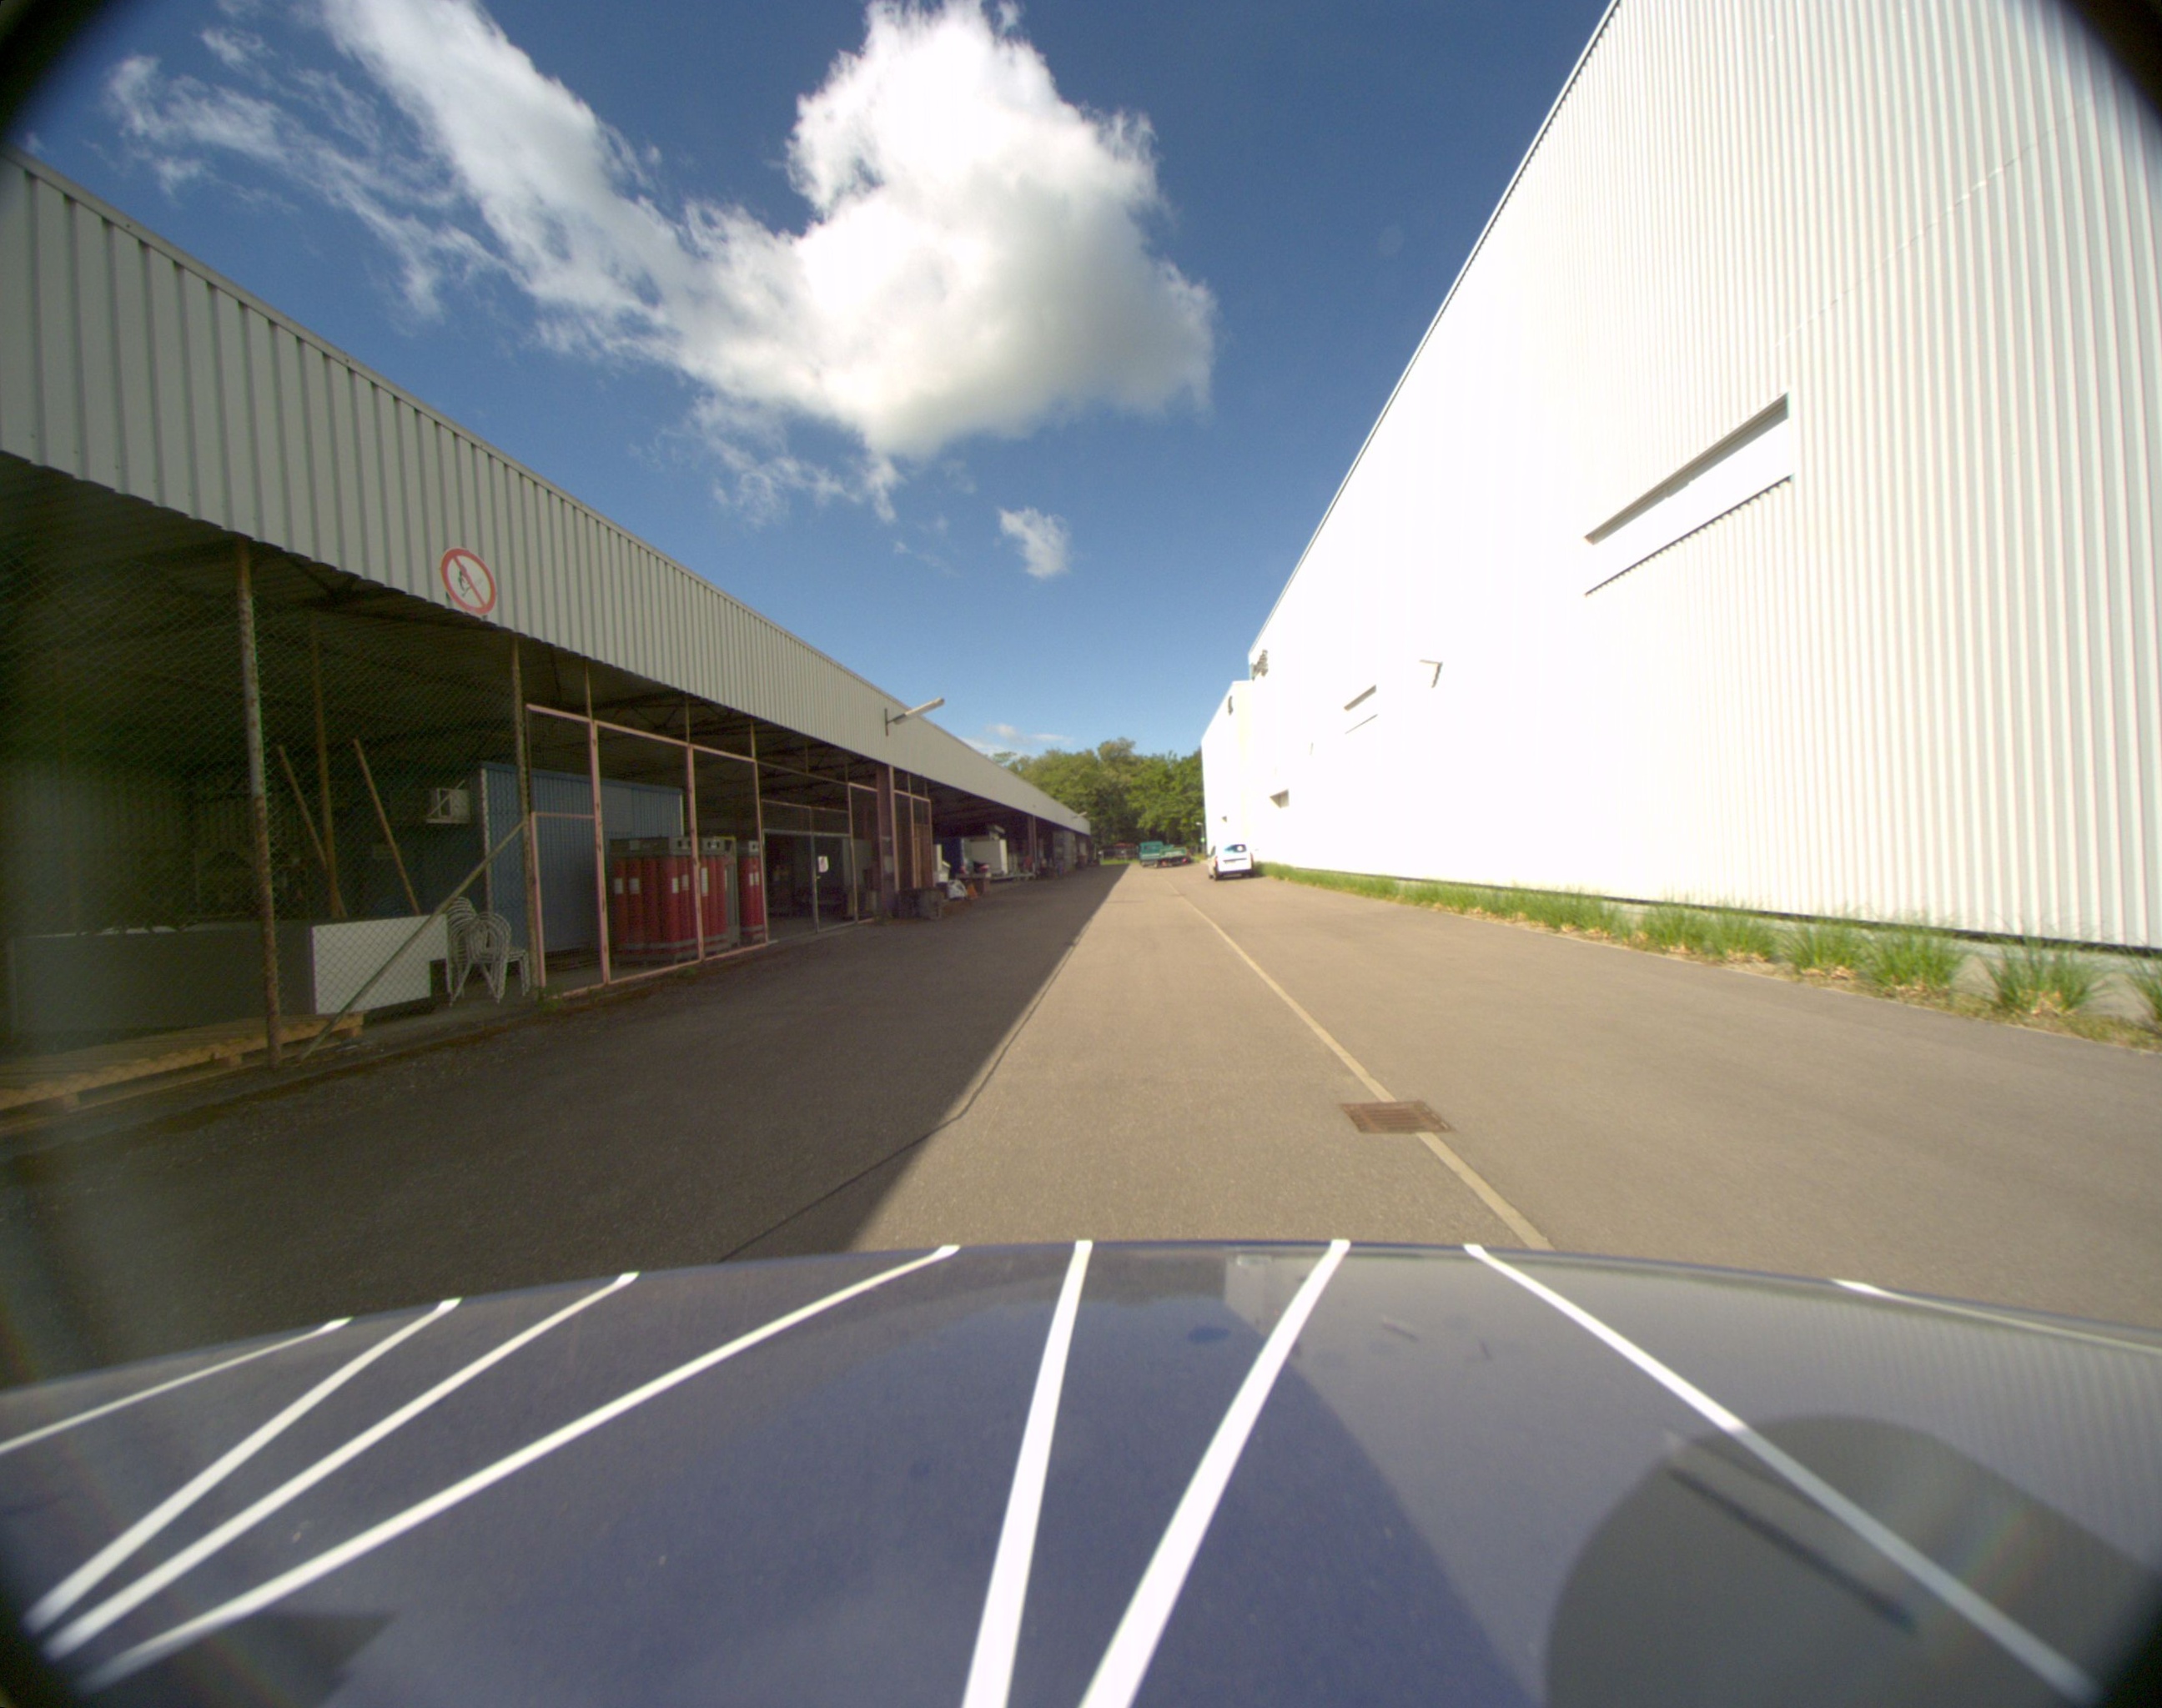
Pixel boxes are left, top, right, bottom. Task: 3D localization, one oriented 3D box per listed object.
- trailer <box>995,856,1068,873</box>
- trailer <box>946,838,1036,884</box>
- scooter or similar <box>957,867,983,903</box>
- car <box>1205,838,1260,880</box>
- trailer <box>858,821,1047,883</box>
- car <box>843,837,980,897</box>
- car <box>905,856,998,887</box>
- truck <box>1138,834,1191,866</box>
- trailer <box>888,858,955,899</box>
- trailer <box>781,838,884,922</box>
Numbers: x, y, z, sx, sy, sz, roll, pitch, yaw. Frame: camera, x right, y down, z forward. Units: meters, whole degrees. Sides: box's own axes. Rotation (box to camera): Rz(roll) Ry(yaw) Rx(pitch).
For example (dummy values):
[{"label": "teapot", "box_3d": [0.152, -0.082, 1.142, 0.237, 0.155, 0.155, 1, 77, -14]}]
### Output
[{"label": "trailer", "box_3d": [-4.015, 0.841, 62.673, 5.747, 1.126, 2.009, -2, 0, 3]}, {"label": "trailer", "box_3d": [-4.824, 0.370, 41.038, 4.551, 2.321, 1.689, -1, 1, 5]}, {"label": "scooter or similar", "box_3d": [-3.825, 1.049, 26.296, 0.521, 1.128, 1.592, -2, 1, 4]}, {"label": "car", "box_3d": [7.196, 0.214, 36.456, 1.933, 1.779, 4.599, -4, 0, 4]}, {"label": "trailer", "box_3d": [-7.280, -0.089, 43.744, 10.315, 3.276, 2.676, -1, 1, 5]}, {"label": "car", "box_3d": [-7.124, 0.538, 32.330, 5.228, 2.284, 2.084, -2, 1, 4]}, {"label": "car", "box_3d": [-6.509, 0.849, 38.567, 4.354, 1.425, 1.865, -1, 1, 1]}, {"label": "truck", "box_3d": [8.017, -0.301, 74.267, 2.589, 2.701, 9.689, -5, 0, -8]}, {"label": "trailer", "box_3d": [-6.190, 0.925, 29.656, 2.098, 1.454, 1.642, -2, 1, 7]}, {"label": "trailer", "box_3d": [-6.799, 0.645, 21.183, 1.581, 2.131, 3.521, -1, 1, 2]}]
